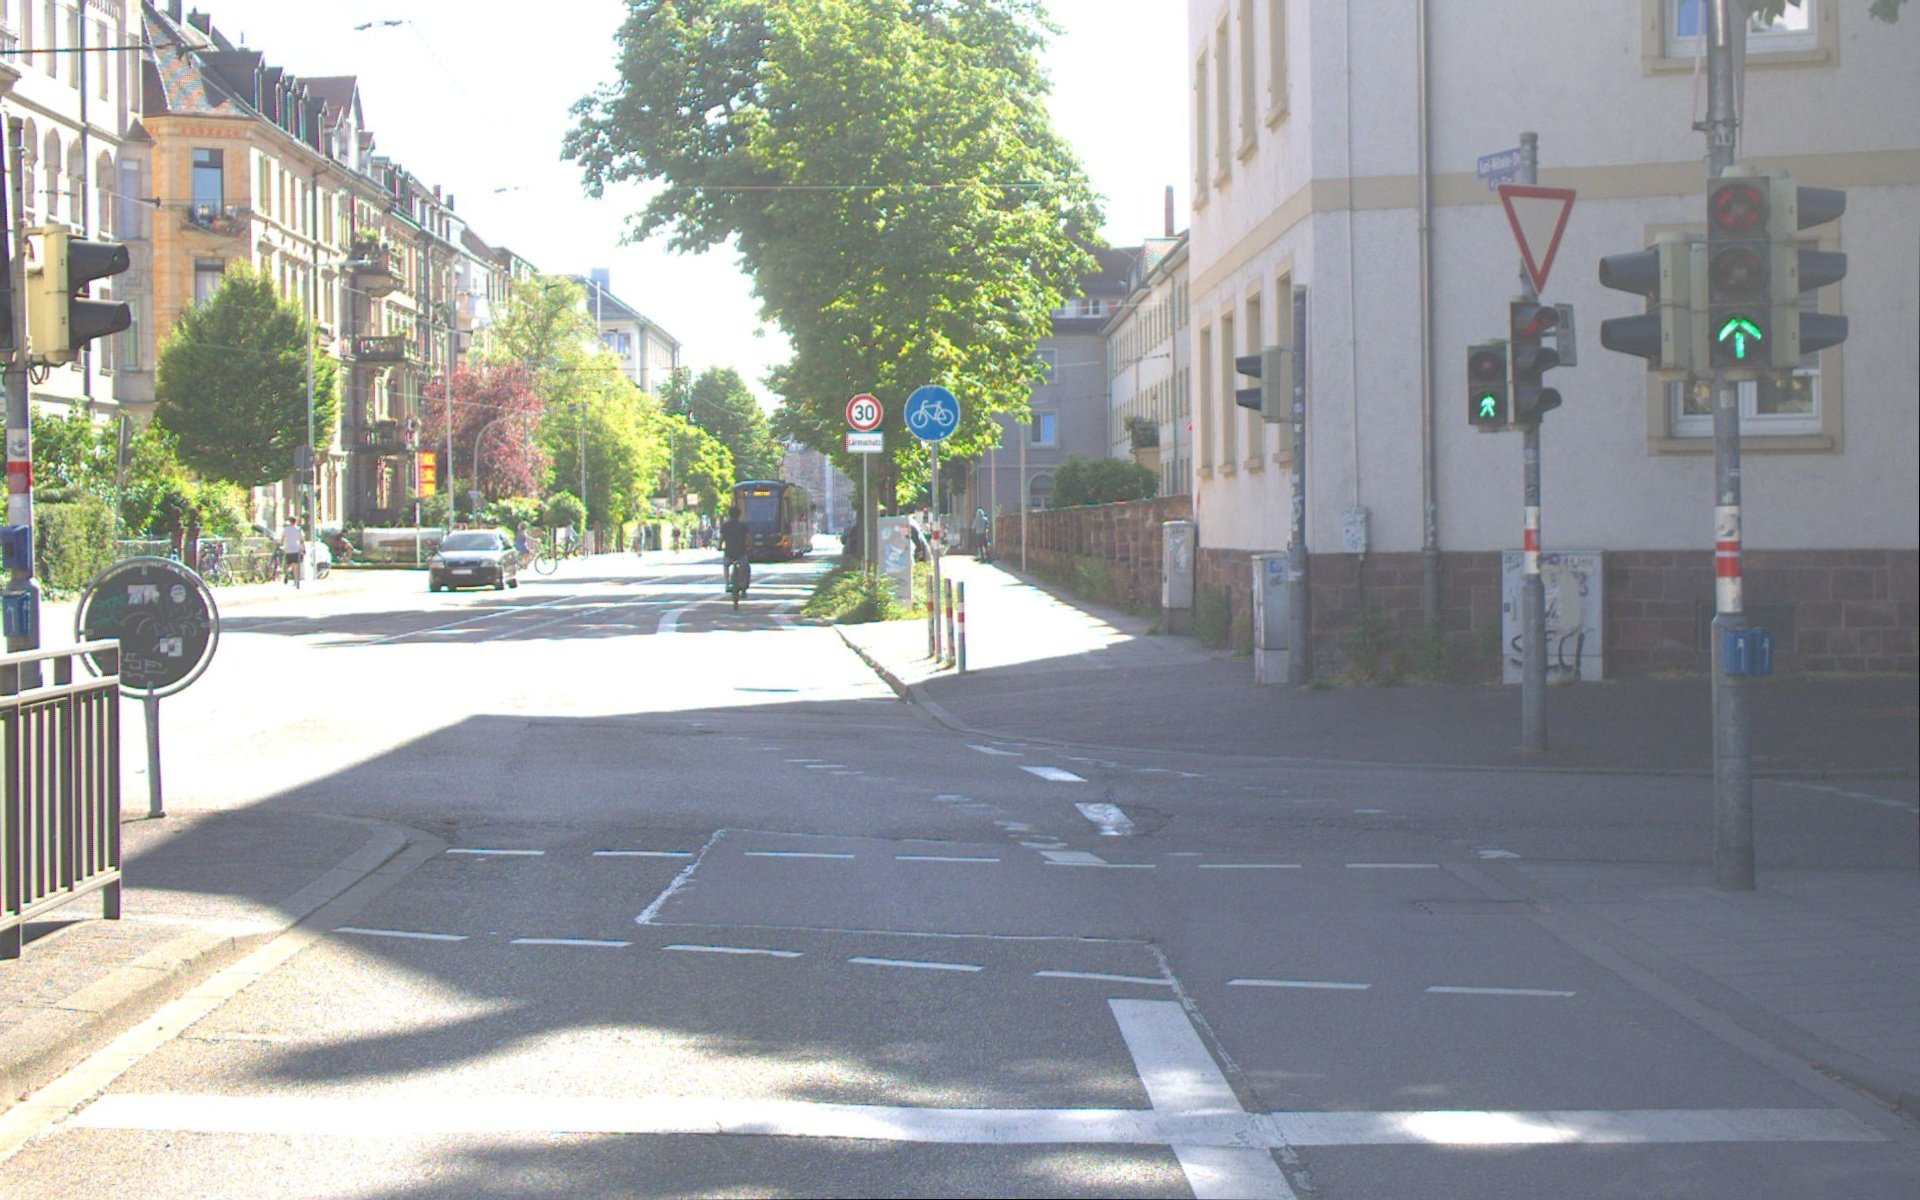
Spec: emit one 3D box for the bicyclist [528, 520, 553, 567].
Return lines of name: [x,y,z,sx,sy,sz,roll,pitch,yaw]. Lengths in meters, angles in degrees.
bicyclist: [-13.090,-1.774,107.277,0.613,1.463,0.637,0,1,-23]

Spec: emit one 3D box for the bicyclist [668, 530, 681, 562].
bicyclist: [-16.353,-3.099,196.910,0.660,1.795,0.616,-3,1,-1]

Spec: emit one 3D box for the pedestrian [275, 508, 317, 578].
pedestrian: [-16.510,-1.416,85.483,0.829,1.718,1.082,1,0,-2]

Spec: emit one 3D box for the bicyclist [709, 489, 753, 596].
bicyclist: [-3.997,-1.013,60.061,0.727,1.842,0.837,1,1,-2]

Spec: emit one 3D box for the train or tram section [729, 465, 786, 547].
train or tram section: [-8.703,-4.049,148.192,2.153,3.420,6.612,1,2,-1]

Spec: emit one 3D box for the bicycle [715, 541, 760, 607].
bicycle: [-3.881,-0.467,60.053,0.692,1.108,1.719,1,1,-1]

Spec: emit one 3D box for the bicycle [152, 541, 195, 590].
bicycle: [-17.692,-0.780,77.374,0.563,1.030,1.768,1,3,0]

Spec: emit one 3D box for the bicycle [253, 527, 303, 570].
bicycle: [-17.667,-1.340,89.041,0.563,1.030,1.767,-1,3,-37]

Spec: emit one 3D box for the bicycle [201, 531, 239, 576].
bicycle: [-17.585,-1.120,81.742,0.563,1.030,1.768,1,2,-2]

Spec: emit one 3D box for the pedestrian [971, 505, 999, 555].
pedestrian: [0.849,-2.407,118.092,0.764,1.718,0.579,1,2,28]

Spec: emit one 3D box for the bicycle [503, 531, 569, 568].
bicycle: [-13.213,-1.570,107.215,1.910,1.108,0.694,0,2,-23]

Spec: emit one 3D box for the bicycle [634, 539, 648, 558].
bicycle: [-15.887,-2.569,171.247,0.460,0.922,2.203,-2,2,-1]

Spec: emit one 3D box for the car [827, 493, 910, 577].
car: [-2.014,-1.443,75.279,1.743,1.760,4.478,1,2,-2]

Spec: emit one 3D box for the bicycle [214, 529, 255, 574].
bicycle: [-18.238,-1.229,86.436,0.563,1.030,1.768,3,2,-25]

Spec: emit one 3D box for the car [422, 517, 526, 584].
car: [-11.705,-1.218,83.047,1.832,1.513,4.967,2,2,-1]

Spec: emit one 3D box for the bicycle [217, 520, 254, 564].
bicycle: [-17.738,-1.424,84.211,0.563,1.030,1.768,1,2,-2]

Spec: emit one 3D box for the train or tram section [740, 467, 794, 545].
train or tram section: [-8.669,-4.222,154.823,2.153,3.420,6.612,1,2,-1]
